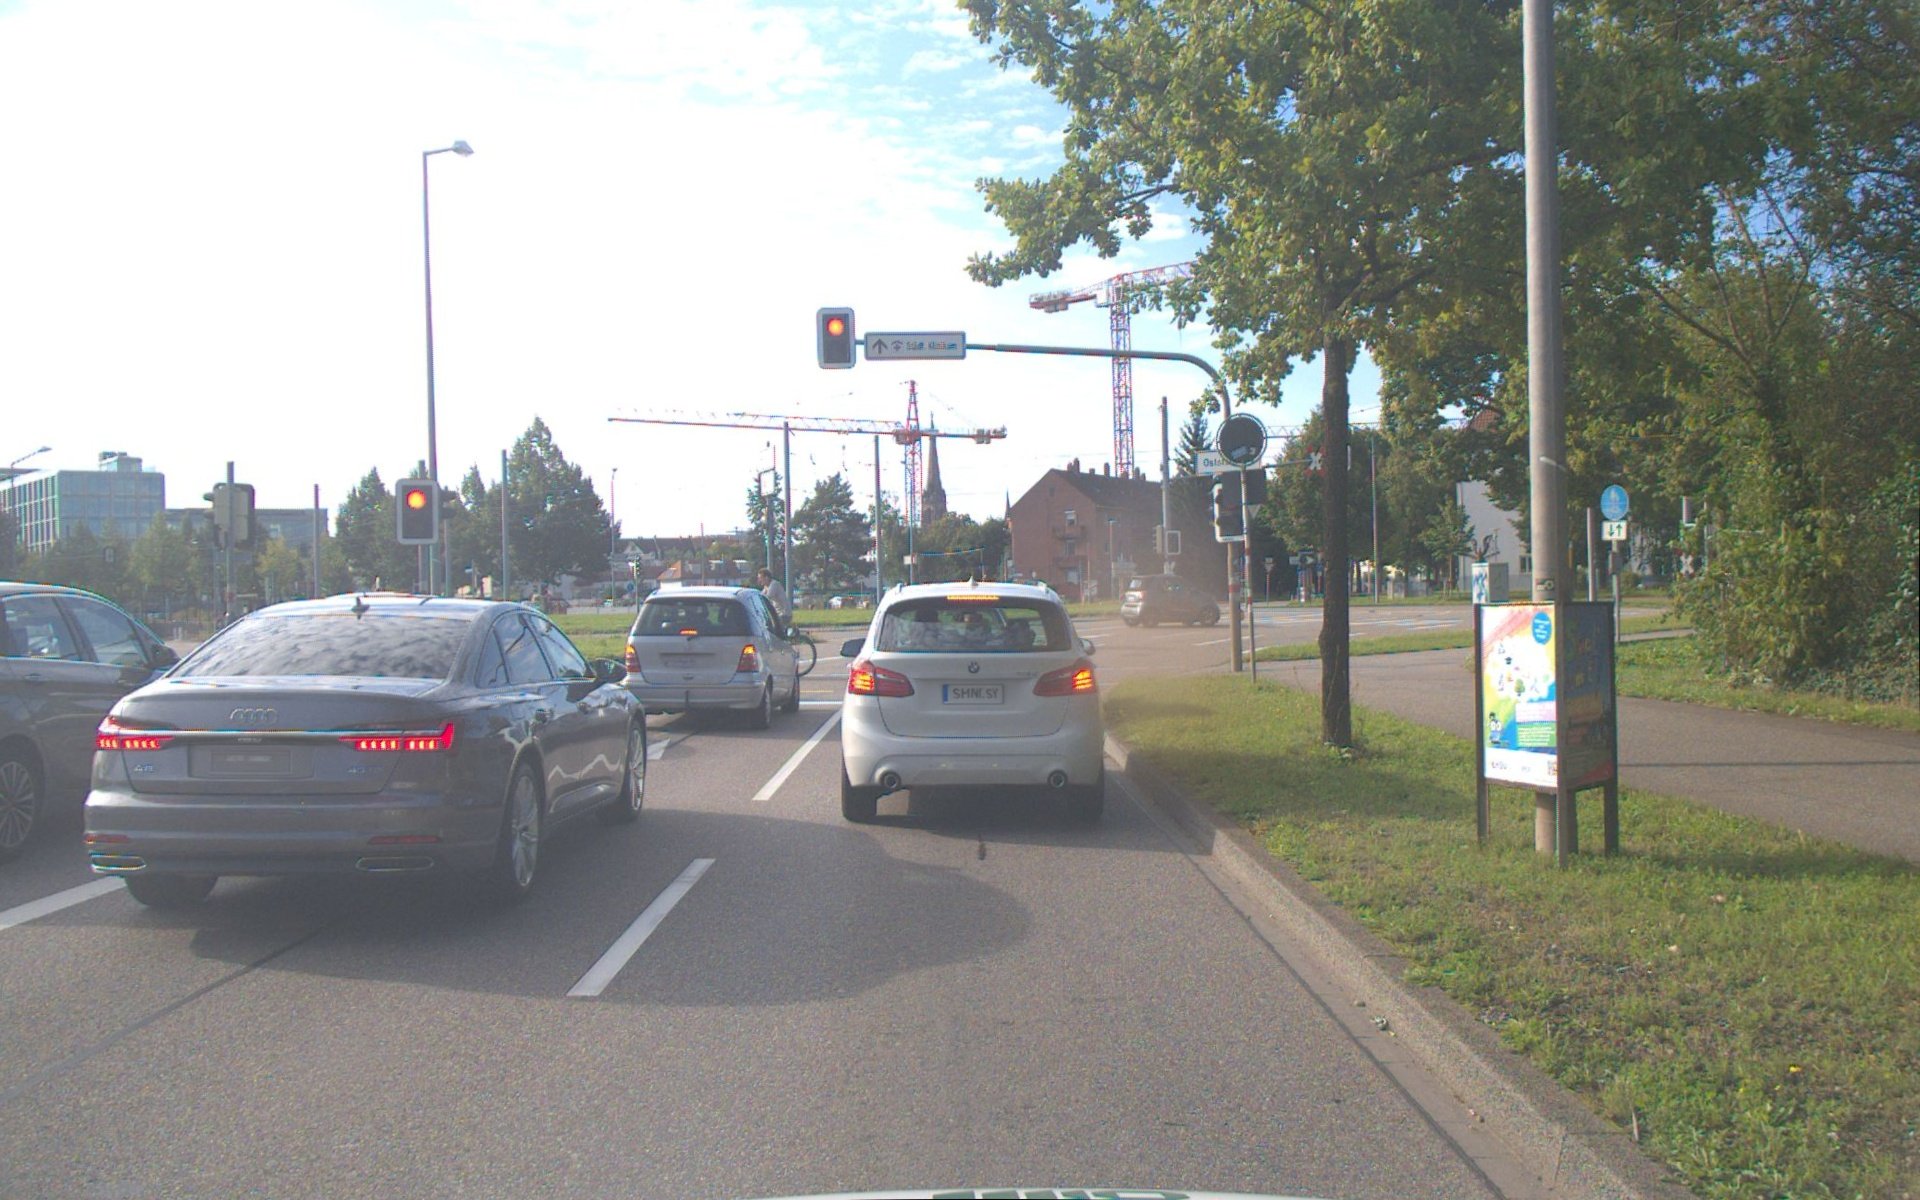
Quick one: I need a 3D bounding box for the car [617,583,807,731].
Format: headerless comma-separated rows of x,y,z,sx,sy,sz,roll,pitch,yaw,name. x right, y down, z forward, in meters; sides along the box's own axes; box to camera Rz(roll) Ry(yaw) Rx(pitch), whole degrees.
-2.844,0.600,19.753,1.694,1.585,4.057,0,0,-1,car

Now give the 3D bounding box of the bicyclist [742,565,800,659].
-3.222,0.200,28.146,0.835,1.553,0.737,-2,0,-17,bicyclist

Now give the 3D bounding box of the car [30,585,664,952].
-2.943,0.700,9.144,1.851,1.509,4.612,0,0,-1,car

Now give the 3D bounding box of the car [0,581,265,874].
-6.048,0.688,10.387,1.694,1.586,4.018,0,0,-1,car

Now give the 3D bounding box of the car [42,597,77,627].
-51.408,0.690,94.454,1.574,1.439,3.636,-3,-1,-28,car

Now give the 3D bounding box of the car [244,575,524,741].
-6.066,0.574,17.892,1.686,1.592,3.877,0,0,0,car

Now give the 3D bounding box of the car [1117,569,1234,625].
6.470,-0.098,49.731,3.132,1.601,1.570,-1,1,-13,car

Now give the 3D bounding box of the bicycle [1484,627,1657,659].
9.467,0.657,25.801,1.382,0.392,2.569,-2,0,-12,bicycle

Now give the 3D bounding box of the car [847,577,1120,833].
0.114,0.639,12.291,1.694,1.585,4.057,0,0,-1,car

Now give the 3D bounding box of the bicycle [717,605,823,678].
-3.231,0.696,28.129,1.698,1.184,0.653,-1,0,-17,bicycle
